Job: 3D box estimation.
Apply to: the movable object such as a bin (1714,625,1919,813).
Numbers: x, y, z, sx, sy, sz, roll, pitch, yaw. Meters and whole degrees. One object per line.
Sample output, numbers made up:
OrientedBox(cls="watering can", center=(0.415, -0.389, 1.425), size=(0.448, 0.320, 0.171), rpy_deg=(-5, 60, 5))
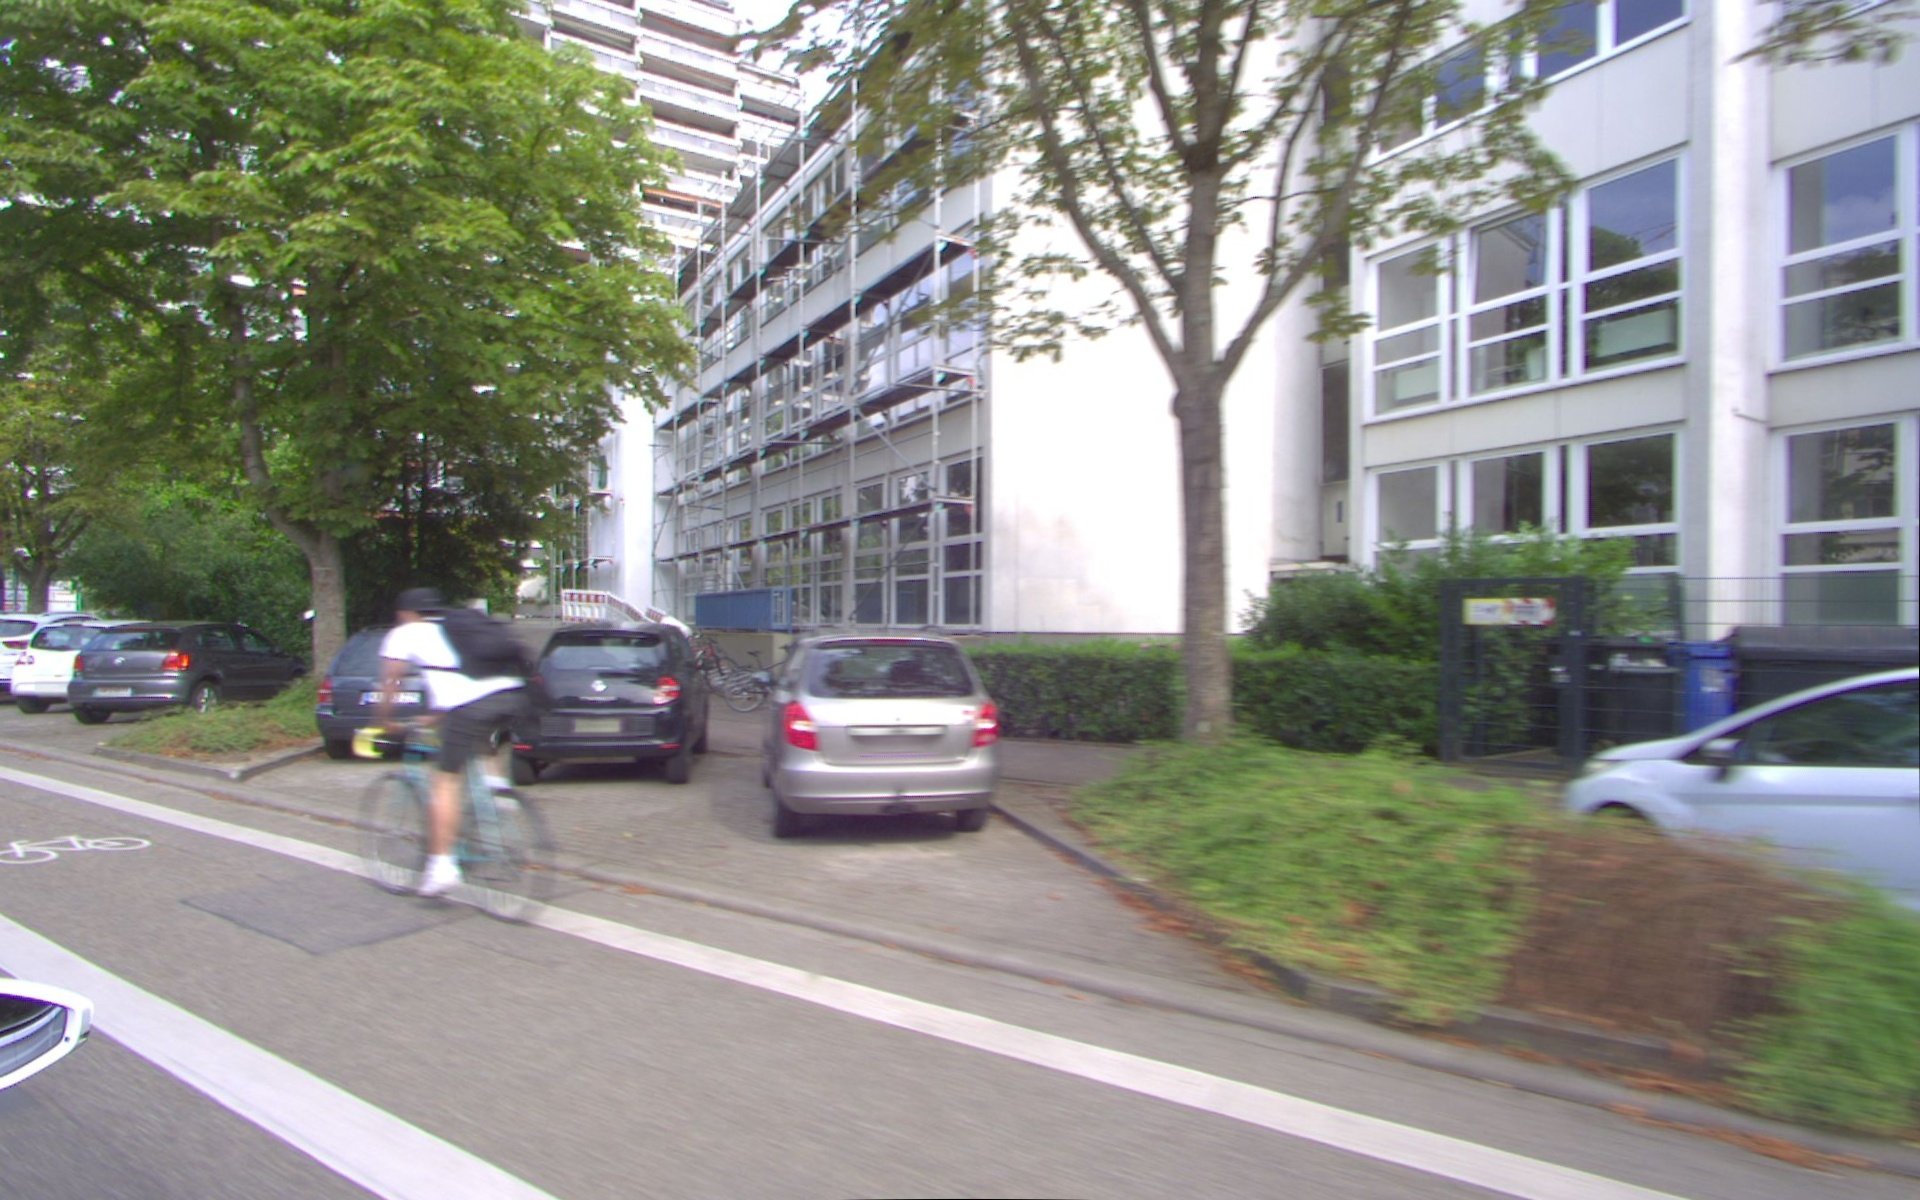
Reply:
OrientedBox(cls="movable object such as a bin", center=(7.671, 1.005, 9.021), size=(1.315, 1.527, 1.067), rpy_deg=(0, -1, 33))

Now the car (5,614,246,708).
OrientedBox(cls="car", center=(-14.323, 1.001, 17.440), size=(1.530, 1.461, 3.447), rpy_deg=(1, -1, -6))

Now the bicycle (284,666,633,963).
OrientedBox(cls="bicycle", center=(-2.750, 1.030, 5.400), size=(2.094, 1.265, 0.656), rpy_deg=(0, -1, 32))

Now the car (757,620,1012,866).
OrientedBox(cls="car", center=(-0.833, 0.961, 8.290), size=(1.610, 1.542, 3.737), rpy_deg=(1, -2, -12))

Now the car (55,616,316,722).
OrientedBox(cls="car", center=(-11.881, 0.998, 15.674), size=(1.593, 1.461, 3.535), rpy_deg=(1, -1, -6))

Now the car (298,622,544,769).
OrientedBox(cls="car", center=(-6.262, 1.027, 12.099), size=(1.610, 1.477, 3.737), rpy_deg=(1, -2, -12))

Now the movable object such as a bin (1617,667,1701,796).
OrientedBox(cls="movable object such as a bin", center=(6.535, 1.196, 9.355), size=(0.566, 1.117, 0.647), rpy_deg=(0, -1, 42))

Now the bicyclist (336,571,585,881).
OrientedBox(cls="bicyclist", center=(-2.686, 0.614, 5.379), size=(1.161, 1.482, 0.656), rpy_deg=(0, -1, 32))

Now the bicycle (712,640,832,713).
OrientedBox(cls="bicycle", center=(-3.199, 1.280, 17.095), size=(1.943, 1.143, 0.536), rpy_deg=(-1, 0, -28))

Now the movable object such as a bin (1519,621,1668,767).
OrientedBox(cls="movable object such as a bin", center=(7.163, 1.019, 11.337), size=(1.105, 1.542, 1.072), rpy_deg=(2, -1, -34))

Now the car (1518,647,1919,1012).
OrientedBox(cls="car", center=(4.715, 0.991, 4.584), size=(1.611, 1.478, 3.825), rpy_deg=(1, -2, -14))

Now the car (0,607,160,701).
OrientedBox(cls="car", center=(-17.070, 0.955, 18.812), size=(1.530, 1.593, 3.447), rpy_deg=(1, -1, -6))

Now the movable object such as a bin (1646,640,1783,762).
OrientedBox(cls="movable object such as a bin", center=(9.248, 1.203, 12.290), size=(1.021, 1.385, 1.072), rpy_deg=(2, -1, -33))

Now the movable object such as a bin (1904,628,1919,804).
OrientedBox(cls="movable object such as a bin", center=(8.875, 1.010, 8.406), size=(1.196, 1.527, 1.067), rpy_deg=(0, -1, 33))

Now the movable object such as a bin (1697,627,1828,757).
OrientedBox(cls="movable object such as a bin", center=(10.392, 1.152, 12.982), size=(1.021, 1.582, 1.072), rpy_deg=(2, -1, -33))

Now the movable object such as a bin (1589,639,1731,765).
OrientedBox(cls="movable object such as a bin", center=(8.262, 1.167, 11.835), size=(1.021, 1.385, 1.072), rpy_deg=(2, -1, -33))

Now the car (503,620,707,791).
OrientedBox(cls="car", center=(-3.699, 1.014, 11.003), size=(1.610, 1.542, 3.737), rpy_deg=(1, -2, -12))
